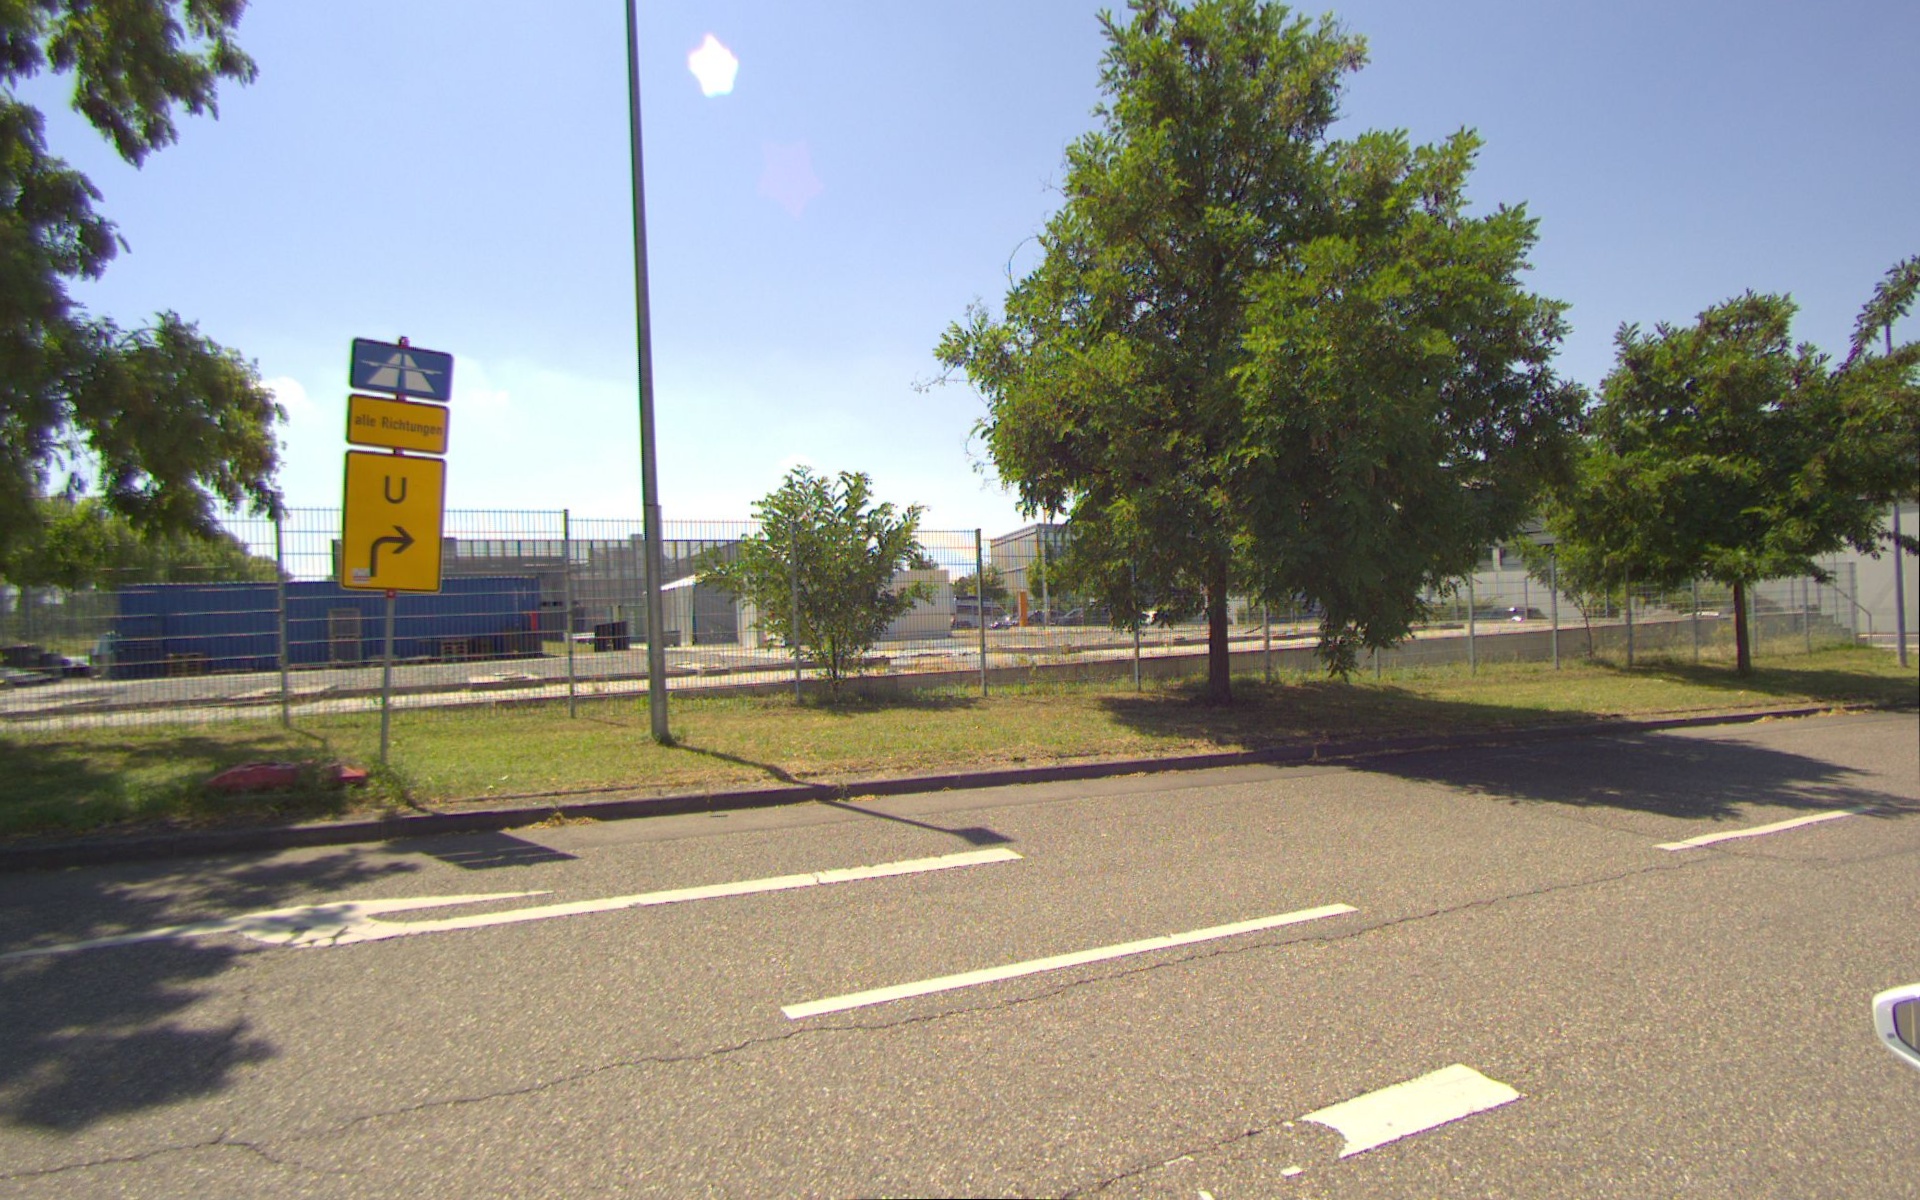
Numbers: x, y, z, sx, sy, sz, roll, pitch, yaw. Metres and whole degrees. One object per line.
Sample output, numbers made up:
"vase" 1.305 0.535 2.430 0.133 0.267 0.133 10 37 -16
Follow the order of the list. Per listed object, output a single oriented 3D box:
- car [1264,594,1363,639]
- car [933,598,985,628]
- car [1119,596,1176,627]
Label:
"car" 19.849 0.874 56.727 2.105 2.303 5.224 -4 1 -27
"car" -0.102 0.906 71.320 2.253 2.040 3.976 -1 0 -25
"car" 13.268 0.796 71.297 1.945 2.040 3.975 -4 1 -25
